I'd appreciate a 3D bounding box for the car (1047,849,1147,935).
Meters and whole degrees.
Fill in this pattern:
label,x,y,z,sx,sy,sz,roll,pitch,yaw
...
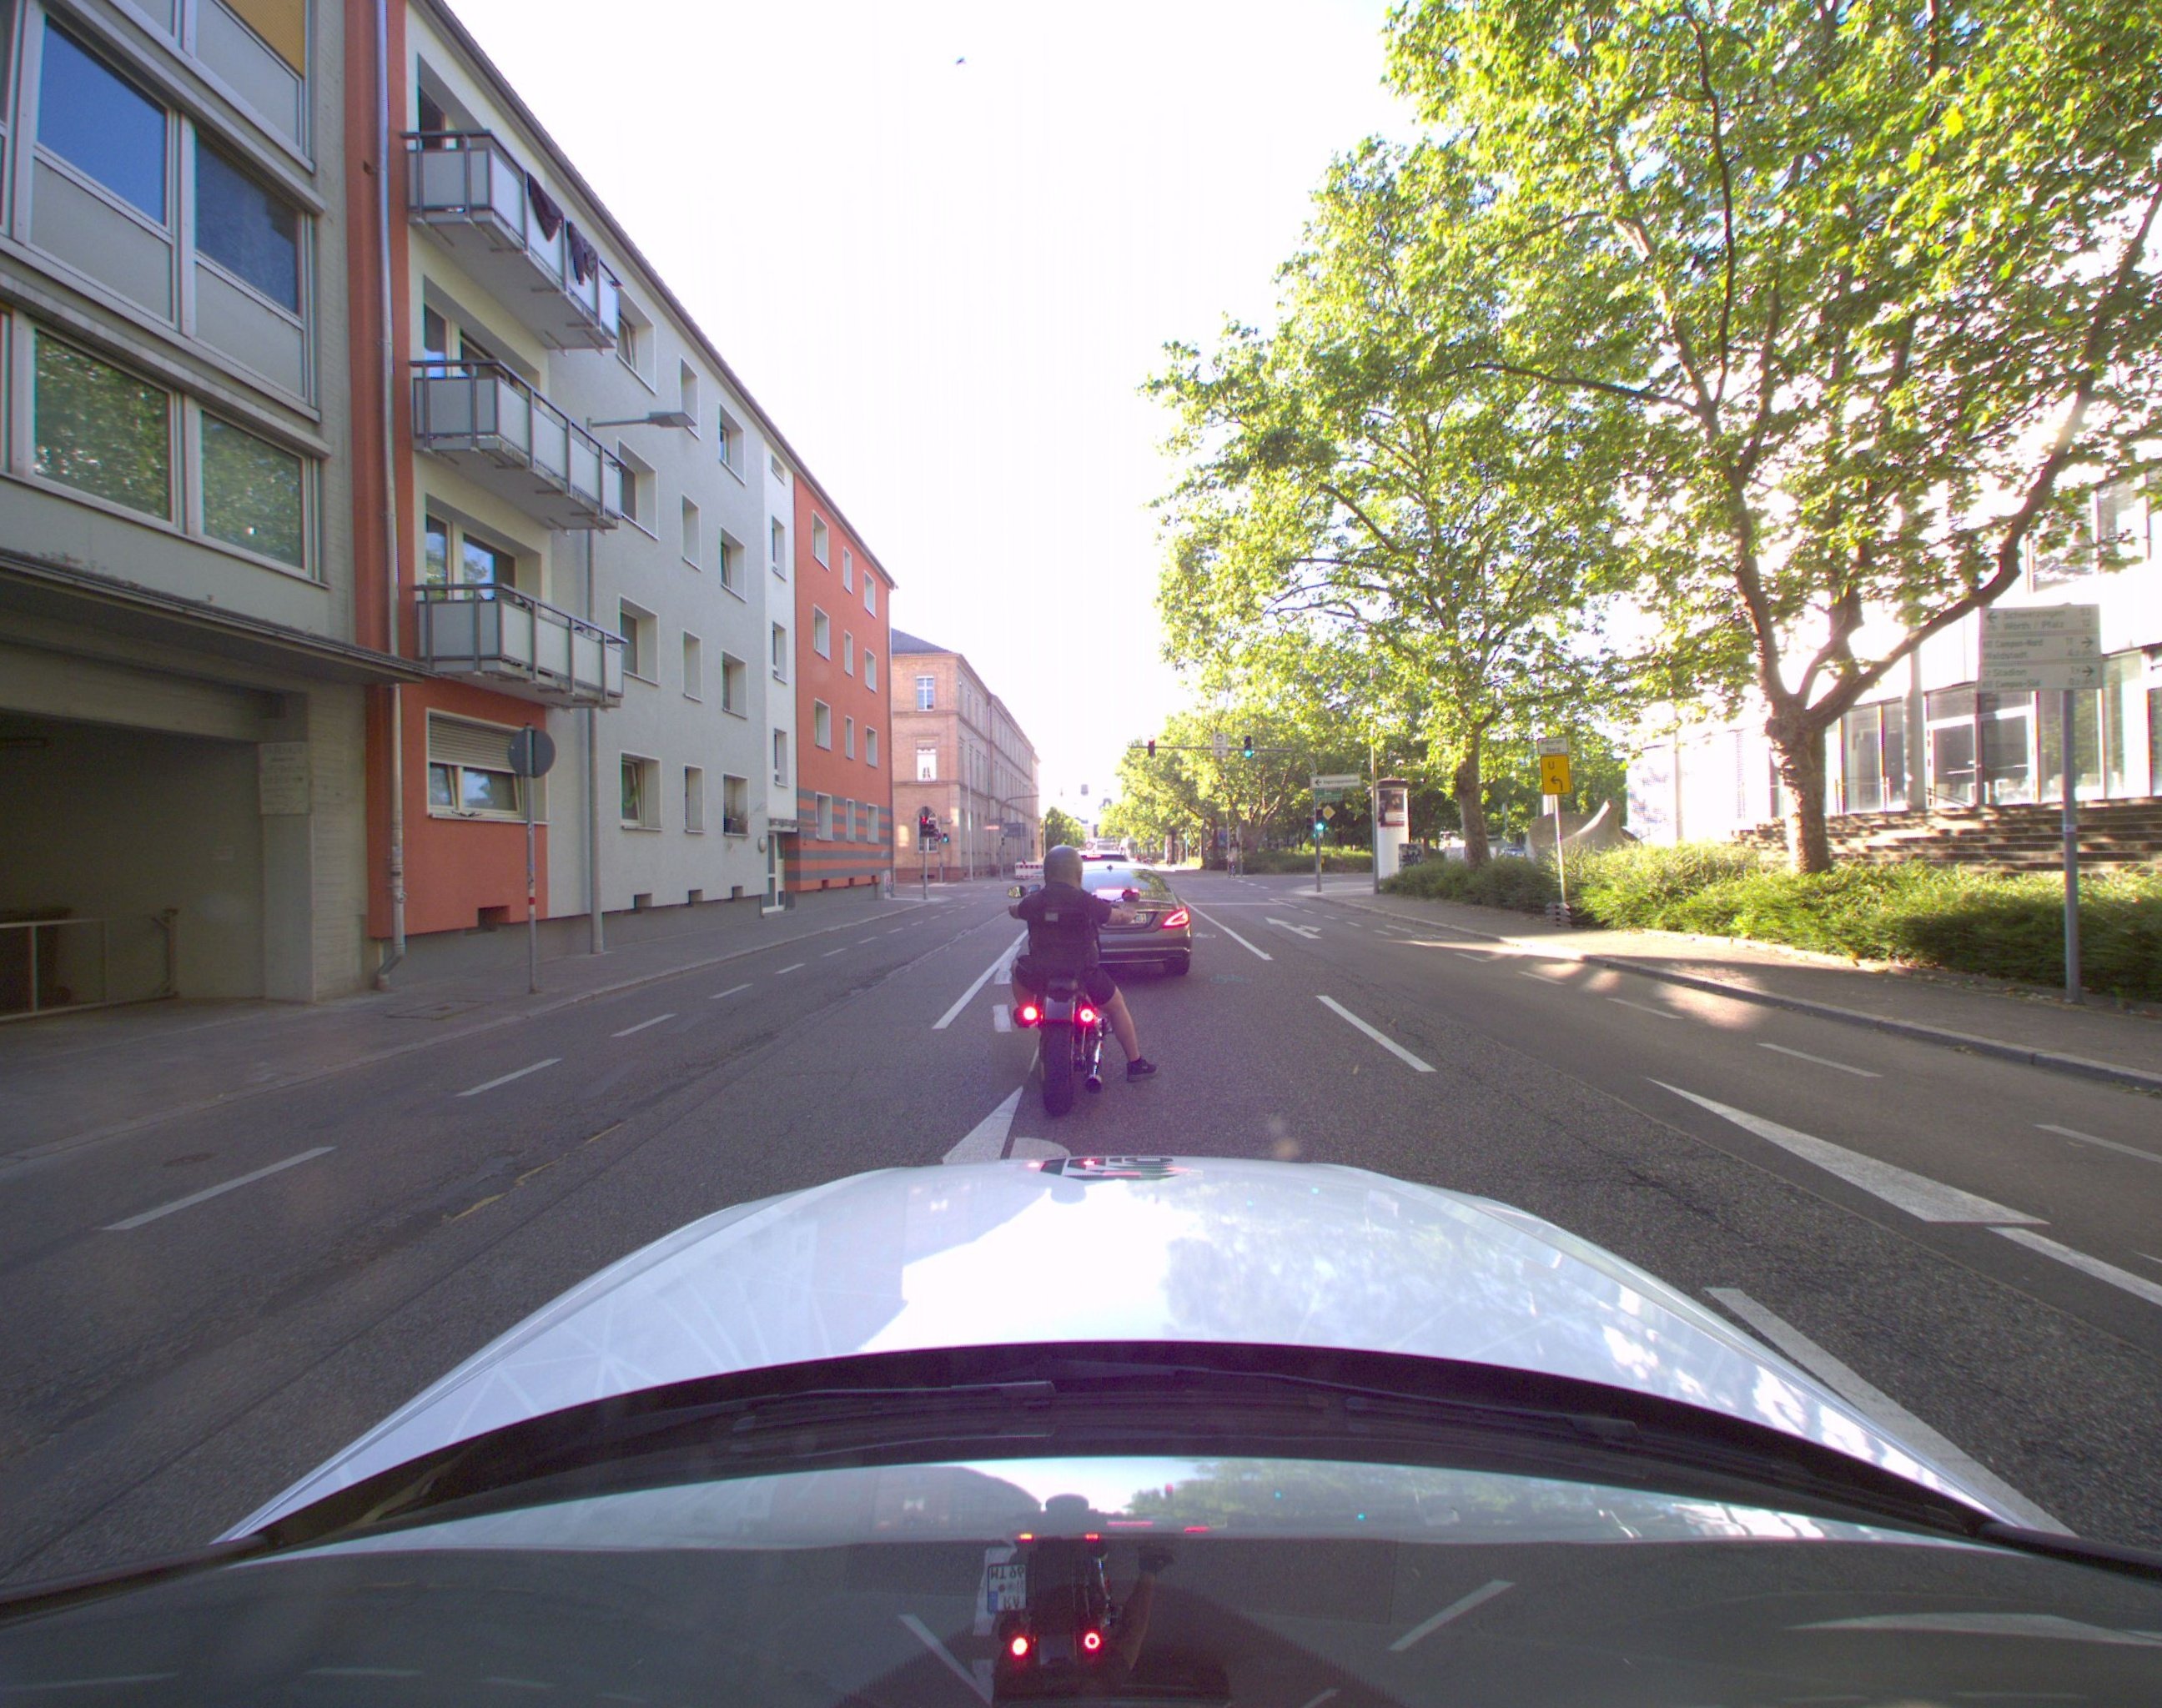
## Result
label,x,y,z,sx,sy,sz,roll,pitch,yaw
car,0.266,0.695,16.901,1.808,1.536,3.847,-1,0,-1

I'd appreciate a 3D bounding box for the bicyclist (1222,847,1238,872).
label,x,y,z,sx,sy,sz,roll,pitch,yaw
bicyclist,9.579,0.327,52.396,0.717,1.582,0.932,0,-1,-12

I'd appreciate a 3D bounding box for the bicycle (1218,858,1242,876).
label,x,y,z,sx,sy,sz,roll,pitch,yaw
bicycle,9.591,0.833,52.352,0.716,1.172,2.166,0,-1,-13

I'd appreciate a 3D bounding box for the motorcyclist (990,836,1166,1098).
label,x,y,z,sx,sy,sz,roll,pitch,yaw
motorcyclist,-0.007,0.687,5.396,1.057,1.582,0.908,0,-1,1

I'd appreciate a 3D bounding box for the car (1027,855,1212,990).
label,x,y,z,sx,sy,sz,roll,pitch,yaw
car,0.305,0.757,11.210,1.900,1.441,4.279,-1,0,-6

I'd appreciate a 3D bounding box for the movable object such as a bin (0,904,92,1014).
label,x,y,z,sx,sy,sz,roll,pitch,yaw
movable object such as a bin,-11.327,1.094,8.653,0.736,1.074,0.716,0,-1,2

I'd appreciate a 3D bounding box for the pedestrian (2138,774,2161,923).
label,x,y,z,sx,sy,sz,roll,pitch,yaw
pedestrian,13.279,-0.072,9.484,0.781,1.781,0.862,-1,0,0

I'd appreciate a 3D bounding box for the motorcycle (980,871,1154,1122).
label,x,y,z,sx,sy,sz,roll,pitch,yaw
motorcycle,-0.042,0.812,5.666,0.958,1.357,2.321,0,-1,2
